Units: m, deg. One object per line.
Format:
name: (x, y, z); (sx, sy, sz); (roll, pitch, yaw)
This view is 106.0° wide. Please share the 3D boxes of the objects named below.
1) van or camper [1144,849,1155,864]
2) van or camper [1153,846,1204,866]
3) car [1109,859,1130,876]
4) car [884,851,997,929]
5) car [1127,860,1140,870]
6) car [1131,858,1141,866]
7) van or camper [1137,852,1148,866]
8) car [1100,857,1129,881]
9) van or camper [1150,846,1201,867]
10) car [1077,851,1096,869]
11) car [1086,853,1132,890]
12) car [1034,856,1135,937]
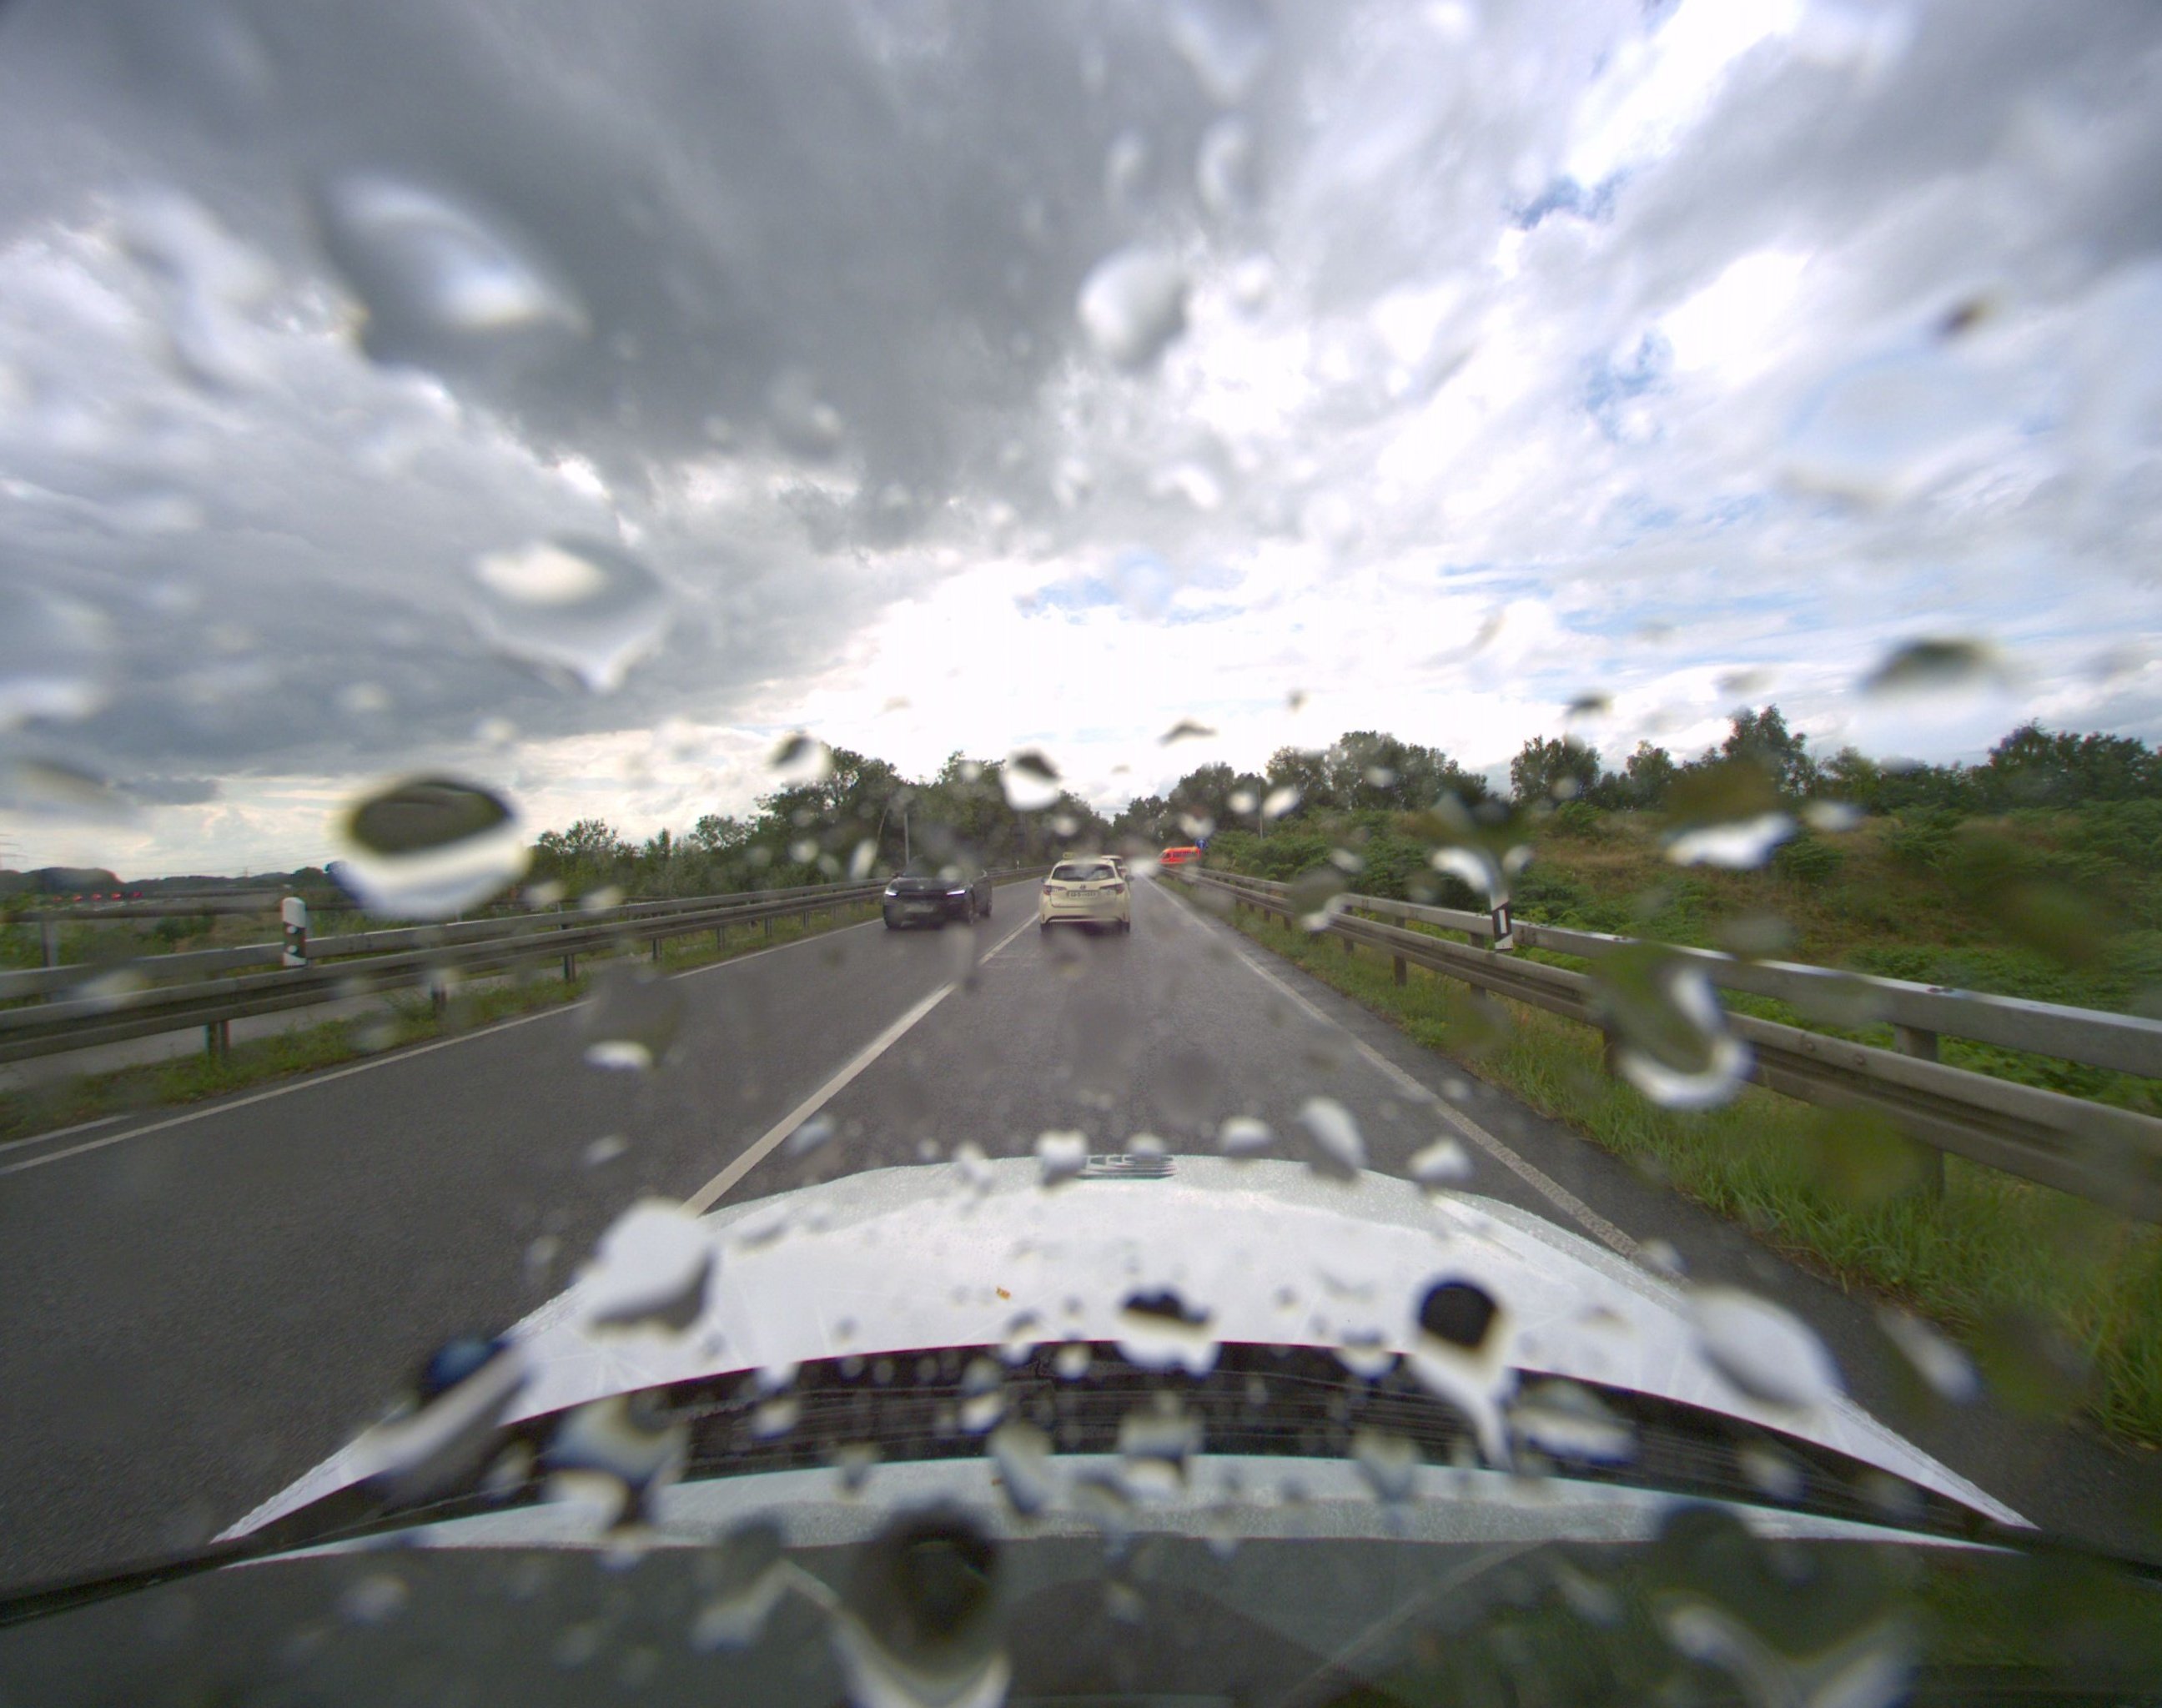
van or camper: (16.741, 0.473, 199.455); (2.323, 3.562, 6.311); (-1, 0, 3)
van or camper: (11.734, 0.242, 97.902); (5.684, 2.241, 2.011); (-1, 0, -13)
car: (3.522, 1.221, 75.289); (1.848, 1.443, 4.172); (-1, 1, 1)
car: (-3.129, 0.732, 18.957); (1.773, 1.561, 4.303); (-1, 0, 1)
car: (8.043, 1.625, 124.037); (1.845, 1.443, 4.177); (-1, 0, 5)
car: (10.234, 1.435, 151.453); (1.845, 1.443, 4.177); (-1, 0, 5)
van or camper: (13.045, 1.121, 173.149); (2.323, 2.864, 6.311); (-1, 0, 3)
car: (2.190, 0.952, 54.659); (1.848, 1.443, 4.172); (-1, 1, 1)
van or camper: (11.075, 0.281, 95.550); (5.684, 2.241, 2.011); (-1, 0, -13)
car: (0.672, 0.681, 97.255); (1.985, 2.128, 4.898); (-1, 0, 3)
car: (1.176, 0.700, 35.204); (1.848, 1.443, 4.172); (-1, 1, 1)
car: (0.115, 0.794, 17.147); (1.848, 1.394, 4.172); (-1, 1, 1)
